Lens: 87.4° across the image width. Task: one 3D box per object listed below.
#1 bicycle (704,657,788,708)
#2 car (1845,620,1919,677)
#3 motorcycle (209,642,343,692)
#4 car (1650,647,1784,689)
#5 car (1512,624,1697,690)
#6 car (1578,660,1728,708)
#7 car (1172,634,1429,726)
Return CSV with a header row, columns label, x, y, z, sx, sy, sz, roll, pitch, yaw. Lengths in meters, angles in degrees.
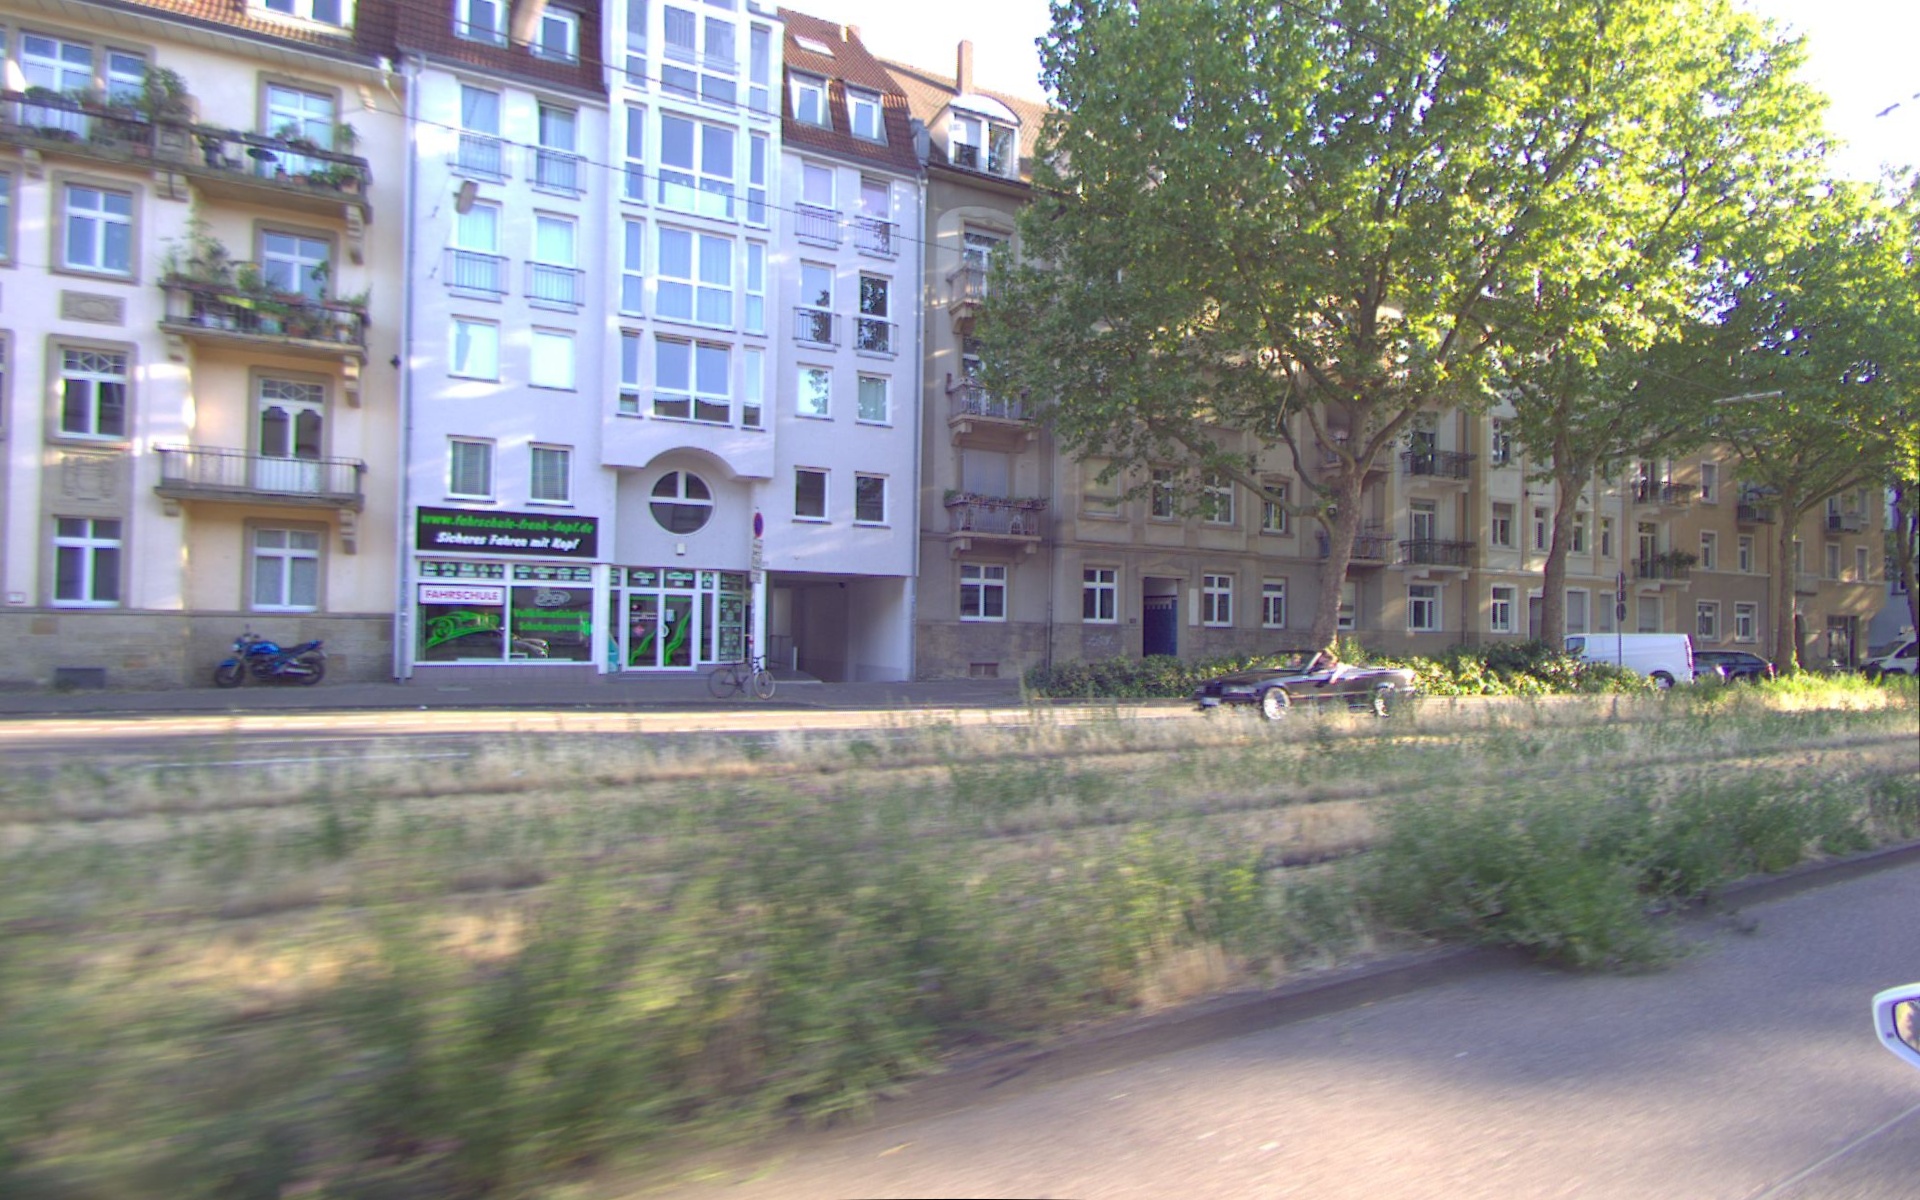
label,x,y,z,sx,sy,sz,roll,pitch,yaw
bicycle,-4.996,1.922,23.447,1.862,1.047,0.757,2,4,-13
car,44.356,2.238,45.943,5.401,2.562,2.126,0,-2,22
motorcycle,-15.078,1.470,22.220,2.389,1.035,0.526,2,1,-28
car,28.111,2.501,37.441,3.656,1.440,1.721,0,-2,22
car,22.105,1.920,34.700,5.145,2.093,1.721,0,-2,22
car,24.565,2.960,35.791,4.095,1.511,1.721,0,-2,22
car,6.289,1.438,18.463,4.639,1.505,1.710,2,-4,-27
